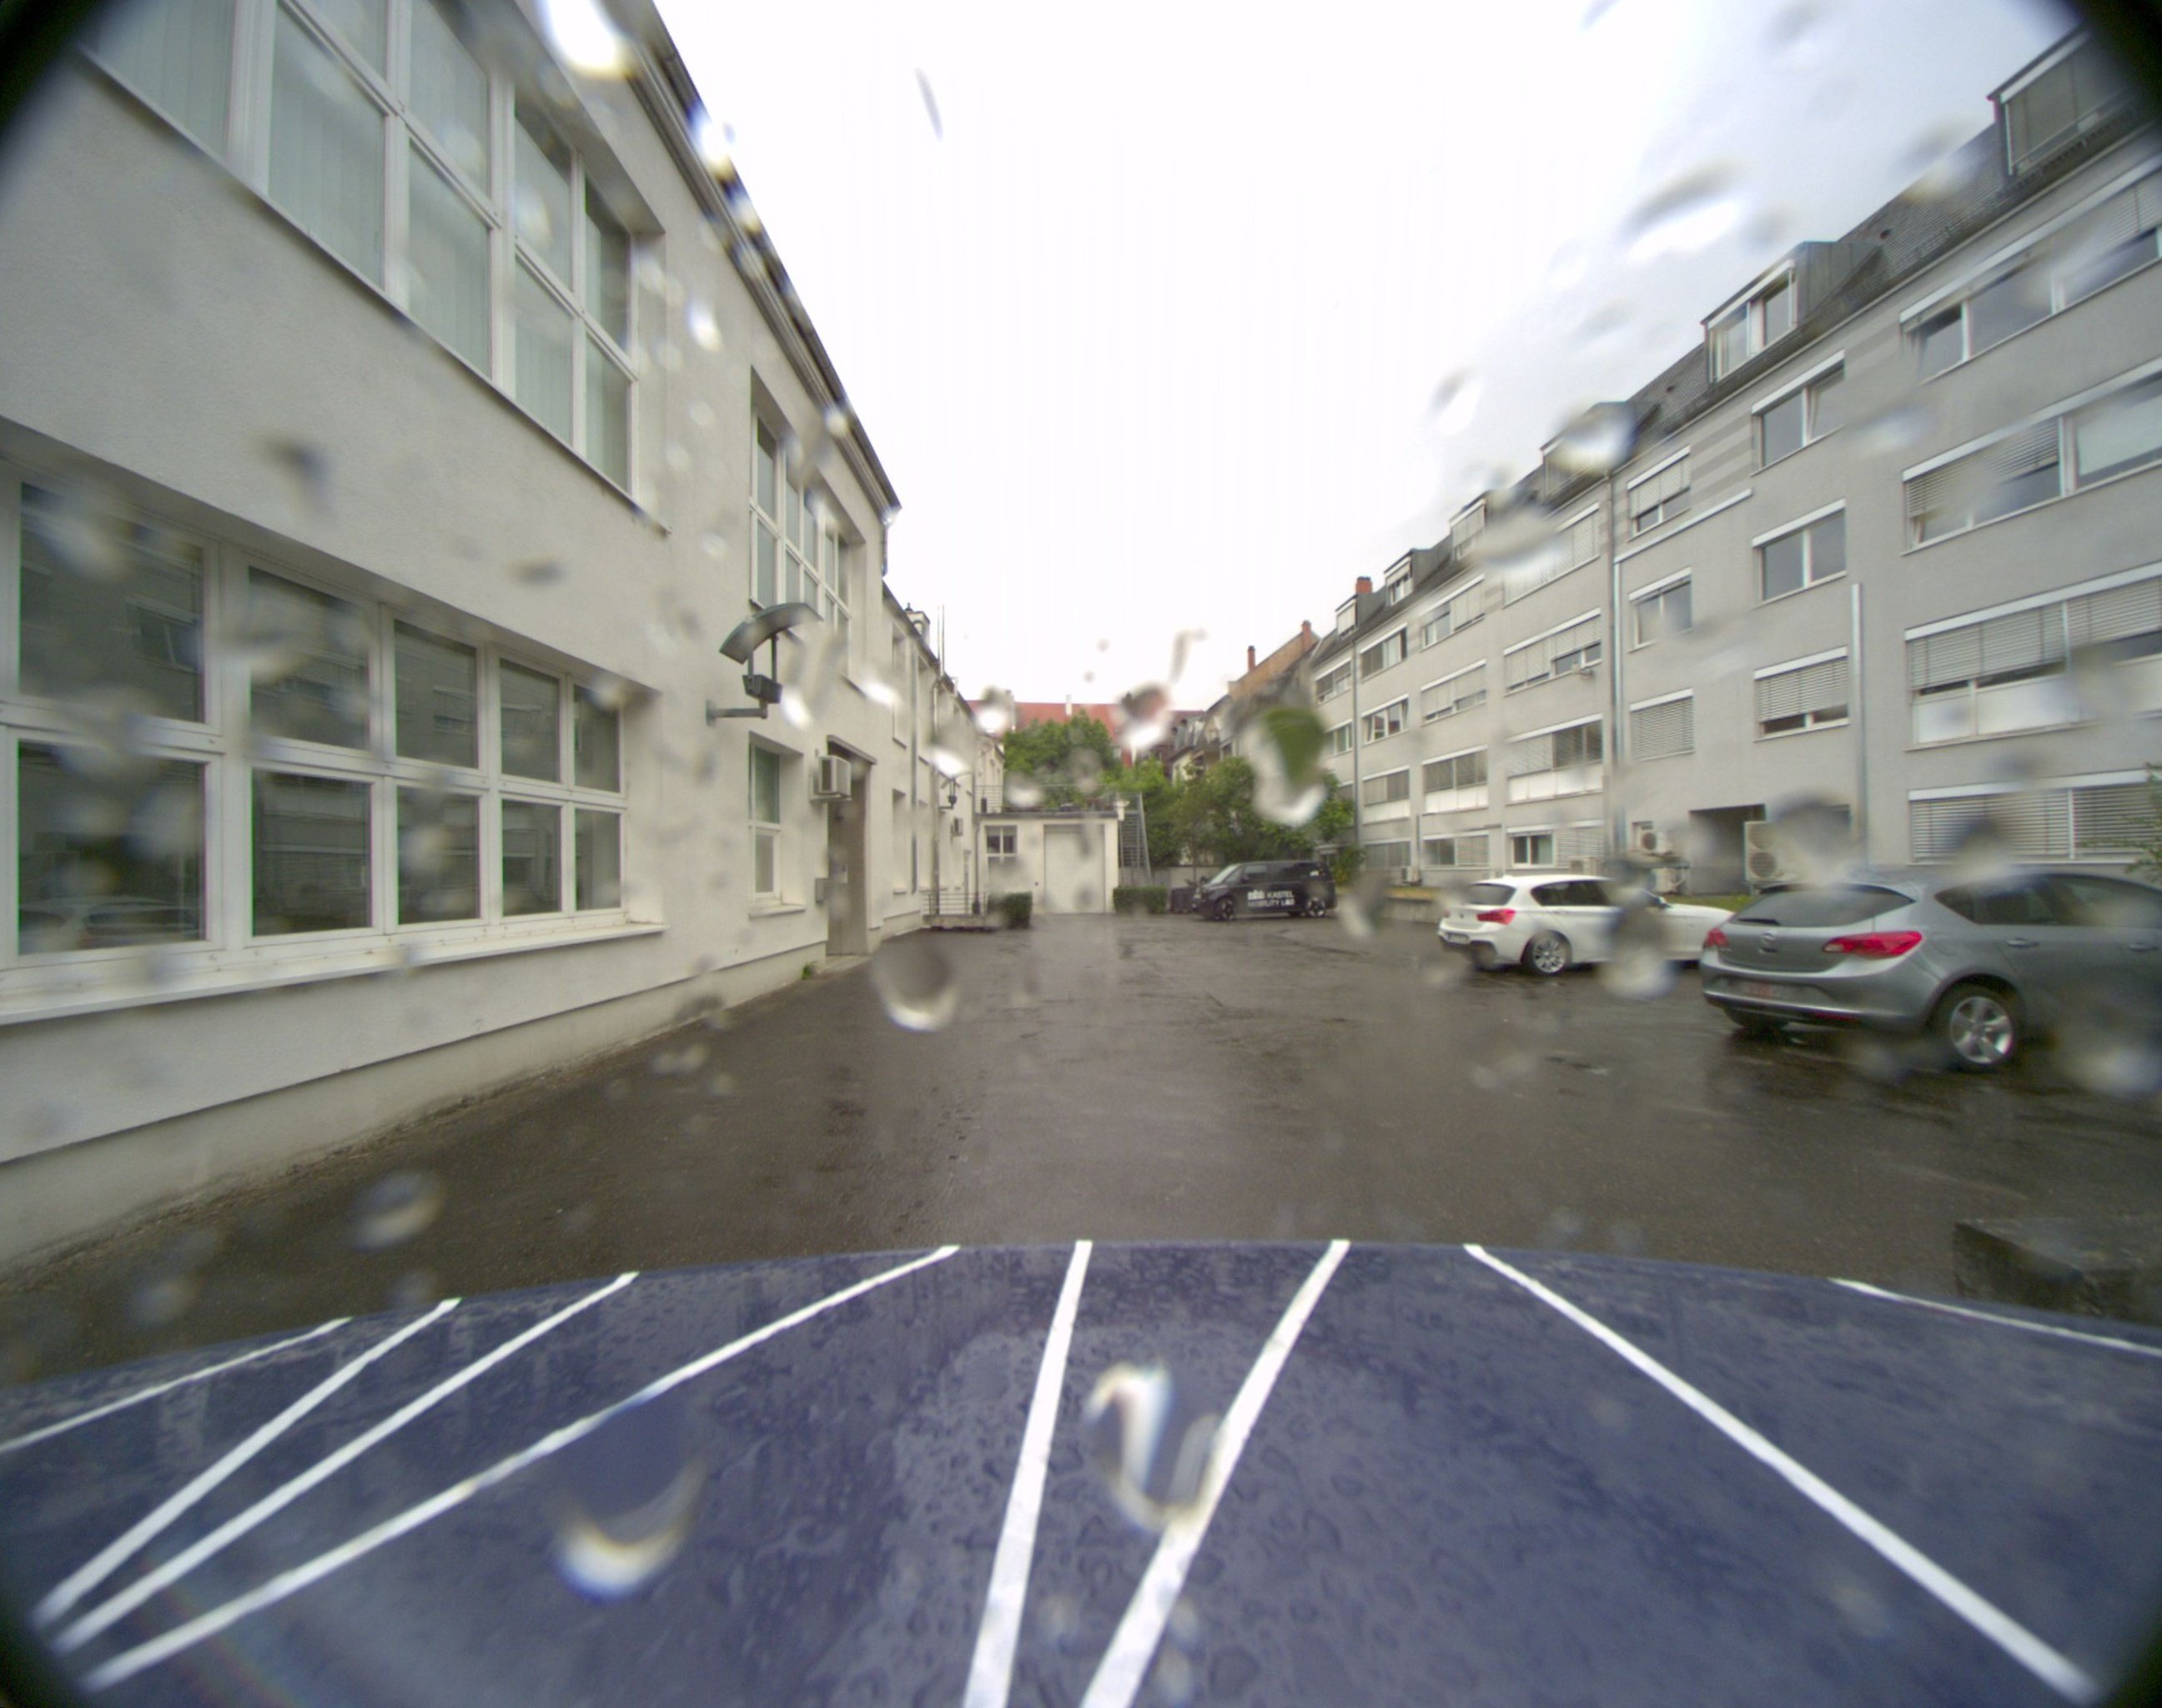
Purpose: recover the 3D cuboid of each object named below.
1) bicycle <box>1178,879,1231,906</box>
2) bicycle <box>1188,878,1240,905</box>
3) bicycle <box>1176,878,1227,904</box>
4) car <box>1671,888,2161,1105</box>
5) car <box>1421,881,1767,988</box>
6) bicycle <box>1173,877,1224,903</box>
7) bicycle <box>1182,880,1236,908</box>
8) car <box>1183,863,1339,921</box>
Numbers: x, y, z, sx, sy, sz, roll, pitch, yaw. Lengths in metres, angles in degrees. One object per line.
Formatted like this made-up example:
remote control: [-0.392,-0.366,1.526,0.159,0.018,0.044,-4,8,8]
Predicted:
bicycle: [5.614,1.746,34.587,2.319,1.179,0.643,0,2,1]
bicycle: [6.170,1.732,35.248,2.319,1.179,0.643,0,2,1]
bicycle: [5.658,1.725,35.755,2.319,1.179,0.643,0,2,1]
car: [7.678,1.037,6.353,4.177,1.474,1.822,0,-2,-4]
car: [7.604,1.151,11.503,4.151,1.425,1.753,0,-1,-4]
bicycle: [5.613,1.713,36.387,2.319,1.179,0.643,0,2,1]
bicycle: [5.689,1.761,33.788,2.319,1.179,0.643,0,2,1]
car: [5.907,1.242,25.295,4.631,1.825,1.988,0,-2,-7]
